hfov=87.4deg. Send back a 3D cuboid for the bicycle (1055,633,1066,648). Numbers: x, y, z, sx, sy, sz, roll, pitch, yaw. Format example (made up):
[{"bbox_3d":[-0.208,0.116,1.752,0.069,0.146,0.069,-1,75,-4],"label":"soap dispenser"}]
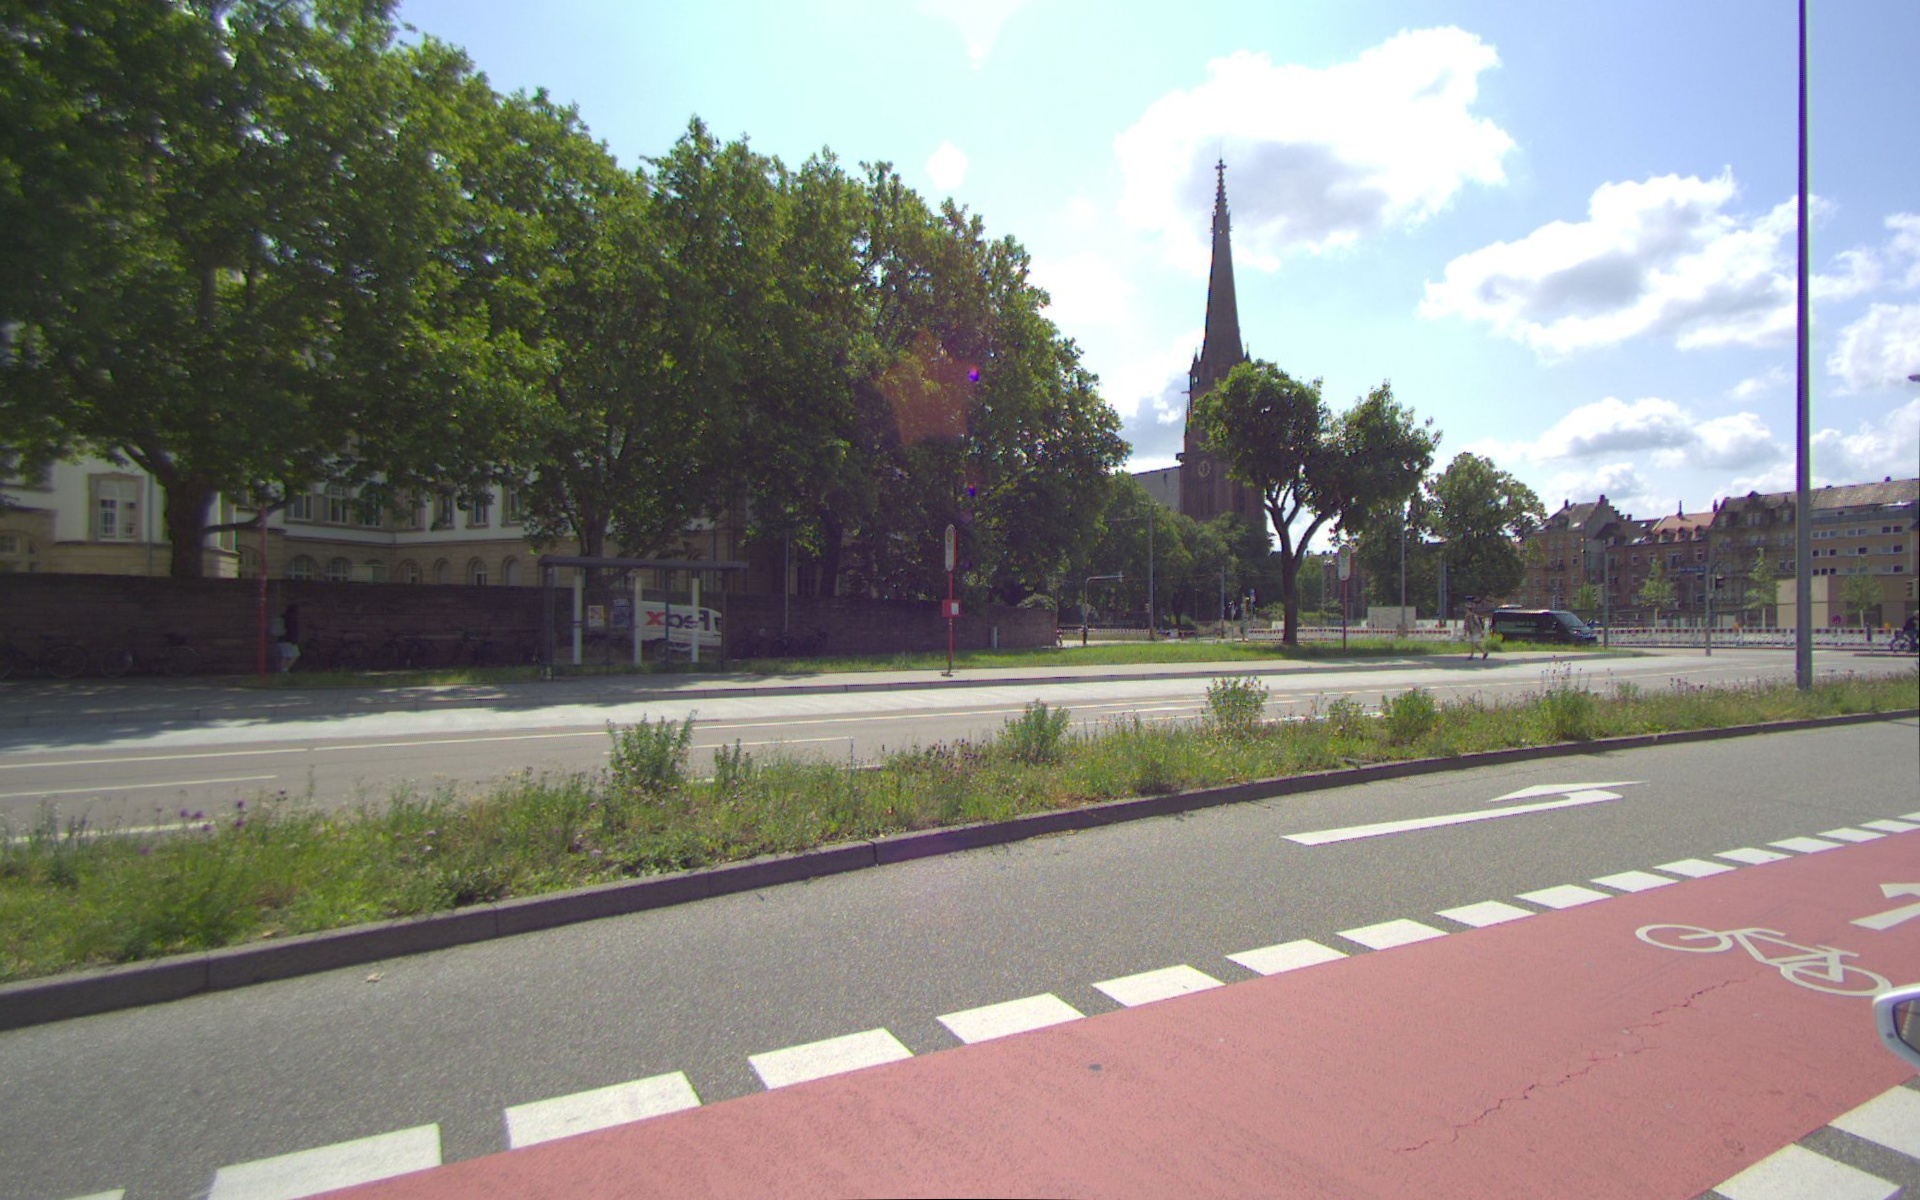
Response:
[{"bbox_3d":[6.305,2.522,62.985,0.534,0.914,1.666,0,-1,12],"label":"bicycle"}]

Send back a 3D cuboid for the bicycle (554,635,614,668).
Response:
[{"bbox_3d":[-11.315,1.540,30.264,0.537,0.914,1.658,0,-1,39],"label":"bicycle"}]

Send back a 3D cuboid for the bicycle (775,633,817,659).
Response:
[{"bbox_3d":[-6.156,1.711,37.767,0.536,0.914,1.660,0,-1,34],"label":"bicycle"}]

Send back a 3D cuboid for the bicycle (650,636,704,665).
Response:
[{"bbox_3d":[-9.320,1.653,33.107,0.446,0.914,1.786,0,-1,39],"label":"bicycle"}]

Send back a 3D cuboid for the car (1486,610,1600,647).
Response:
[{"bbox_3d":[31.040,1.498,53.677,1.908,1.904,4.980,0,-1,-33],"label":"car"}]

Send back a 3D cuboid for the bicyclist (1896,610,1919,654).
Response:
[{"bbox_3d":[41.193,1.374,43.342,0.588,1.869,1.111,0,-1,-37],"label":"bicyclist"}]

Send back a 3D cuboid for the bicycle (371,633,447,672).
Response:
[{"bbox_3d":[-14.357,1.349,26.182,0.538,0.964,1.656,0,-1,43],"label":"bicycle"}]

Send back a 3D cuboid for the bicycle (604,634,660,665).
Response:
[{"bbox_3d":[-10.298,1.543,31.616,0.537,0.914,1.658,0,-1,39],"label":"bicycle"}]

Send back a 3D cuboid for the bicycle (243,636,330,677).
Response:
[{"bbox_3d":[-16.123,1.344,24.075,0.538,0.914,1.655,0,-1,44],"label":"bicycle"}]

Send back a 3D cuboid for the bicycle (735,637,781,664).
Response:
[{"bbox_3d":[-7.227,1.796,35.977,0.537,0.914,1.658,0,-1,39],"label":"bicycle"}]

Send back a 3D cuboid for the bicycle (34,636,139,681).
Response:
[{"bbox_3d":[-18.554,1.227,21.362,0.538,0.914,1.655,0,-1,45],"label":"bicycle"}]

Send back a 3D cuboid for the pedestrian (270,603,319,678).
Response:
[{"bbox_3d":[-14.889,0.892,22.473,0.607,1.638,0.754,1,0,39],"label":"pedestrian"}]

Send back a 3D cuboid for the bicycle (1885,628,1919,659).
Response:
[{"bbox_3d":[41.257,1.859,43.247,0.598,1.307,2.049,1,-1,-37],"label":"bicycle"}]

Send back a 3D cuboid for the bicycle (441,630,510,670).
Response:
[{"bbox_3d":[-13.209,1.347,27.416,0.538,1.065,1.615,0,-1,43],"label":"bicycle"}]

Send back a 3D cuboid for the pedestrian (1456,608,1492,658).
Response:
[{"bbox_3d":[16.386,1.051,32.032,0.858,1.580,0.556,0,-1,3],"label":"pedestrian"}]

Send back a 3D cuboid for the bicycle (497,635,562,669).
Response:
[{"bbox_3d":[-12.367,1.480,28.904,0.537,0.914,1.658,0,-1,39],"label":"bicycle"}]

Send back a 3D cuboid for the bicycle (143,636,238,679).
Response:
[{"bbox_3d":[-17.222,1.283,22.512,1.648,0.914,0.498,1,-1,-34],"label":"bicycle"}]
